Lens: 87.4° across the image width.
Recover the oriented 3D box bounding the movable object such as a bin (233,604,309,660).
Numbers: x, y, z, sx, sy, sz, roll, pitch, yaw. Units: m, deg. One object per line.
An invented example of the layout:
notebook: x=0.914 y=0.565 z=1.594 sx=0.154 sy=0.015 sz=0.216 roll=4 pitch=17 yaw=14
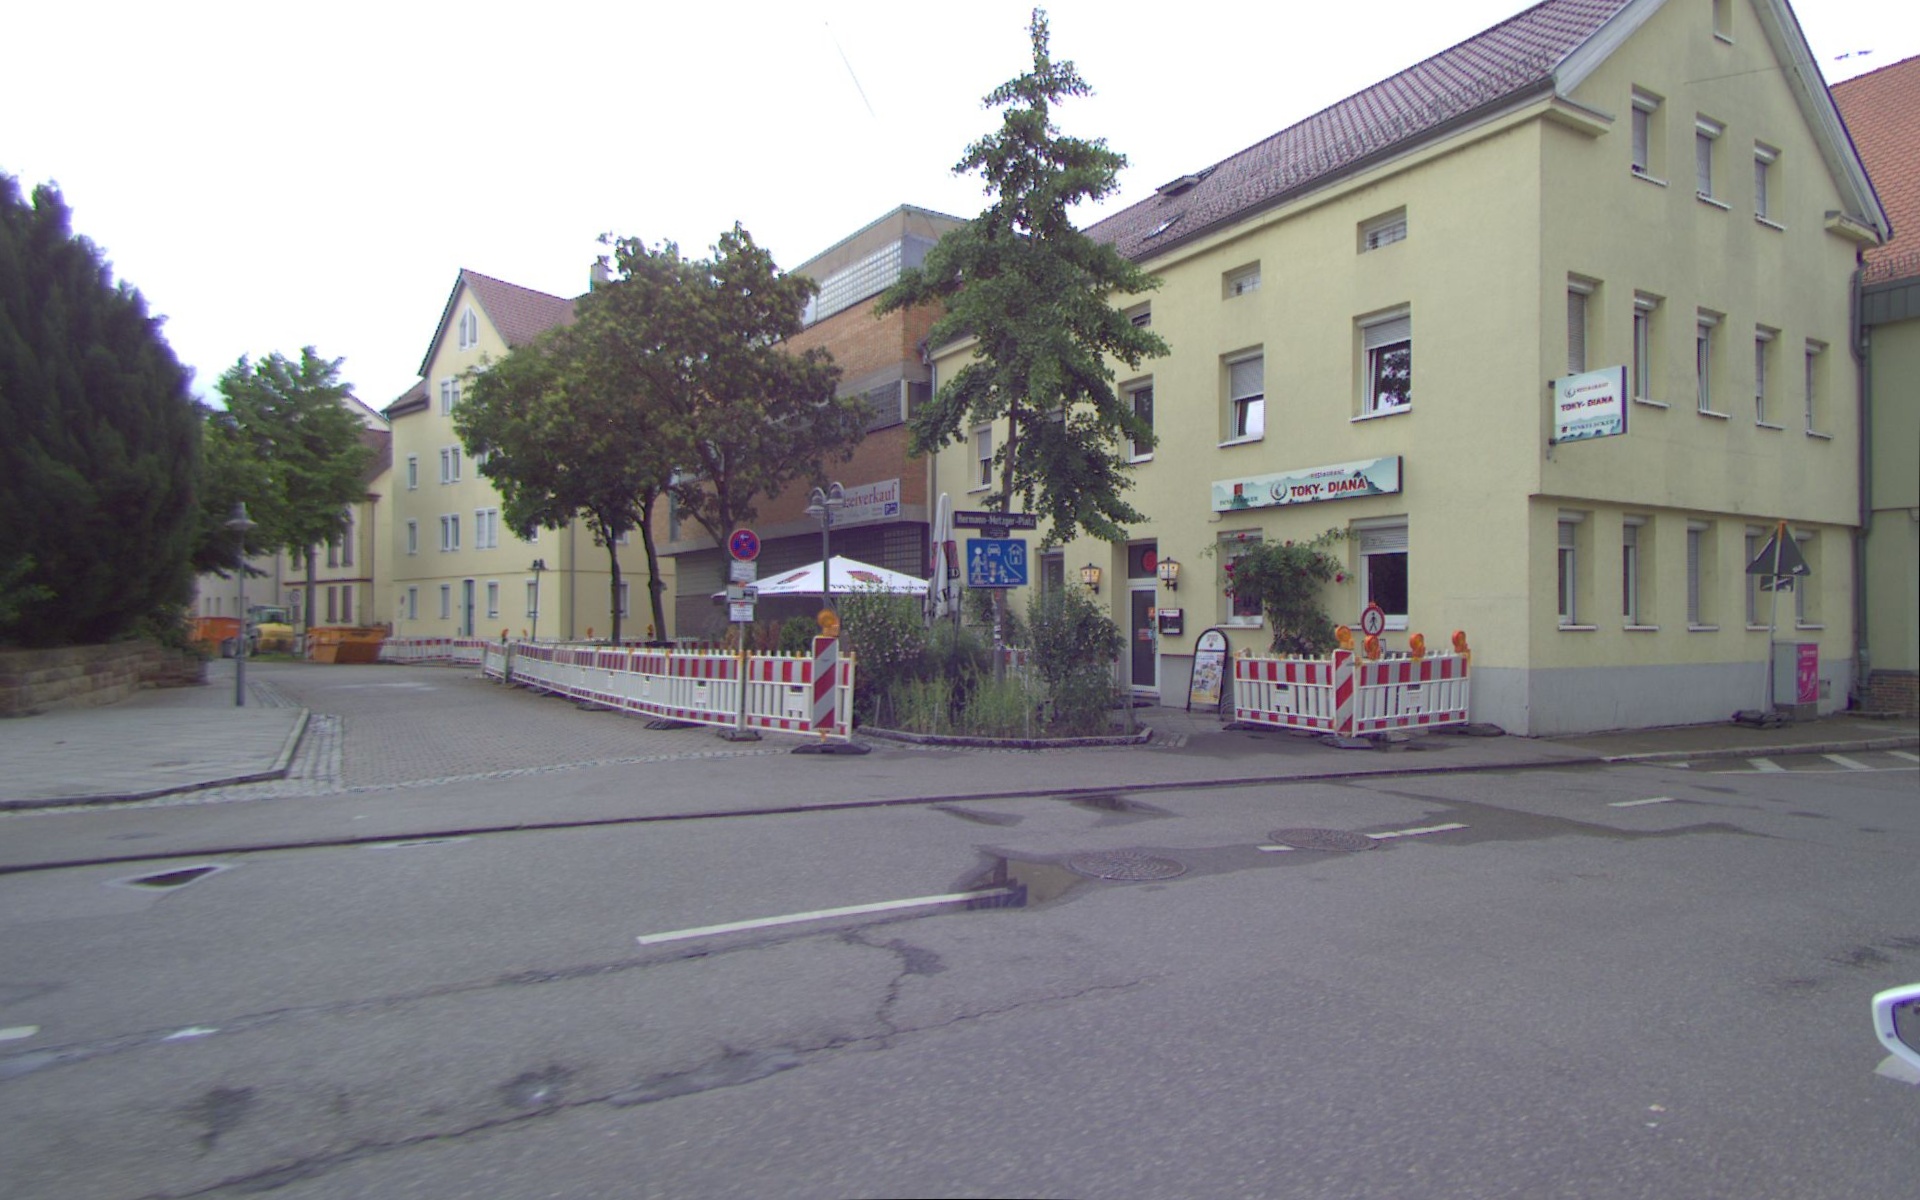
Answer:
movable object such as a bin: x=-34.192 y=1.573 z=49.855 sx=3.125 sy=2.686 sz=1.995 roll=0 pitch=-2 yaw=33

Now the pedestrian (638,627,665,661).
pedestrian: x=-11.678 y=1.677 z=38.012 sx=0.778 sy=1.249 sz=0.783 roll=2 pitch=-1 yaw=-29
